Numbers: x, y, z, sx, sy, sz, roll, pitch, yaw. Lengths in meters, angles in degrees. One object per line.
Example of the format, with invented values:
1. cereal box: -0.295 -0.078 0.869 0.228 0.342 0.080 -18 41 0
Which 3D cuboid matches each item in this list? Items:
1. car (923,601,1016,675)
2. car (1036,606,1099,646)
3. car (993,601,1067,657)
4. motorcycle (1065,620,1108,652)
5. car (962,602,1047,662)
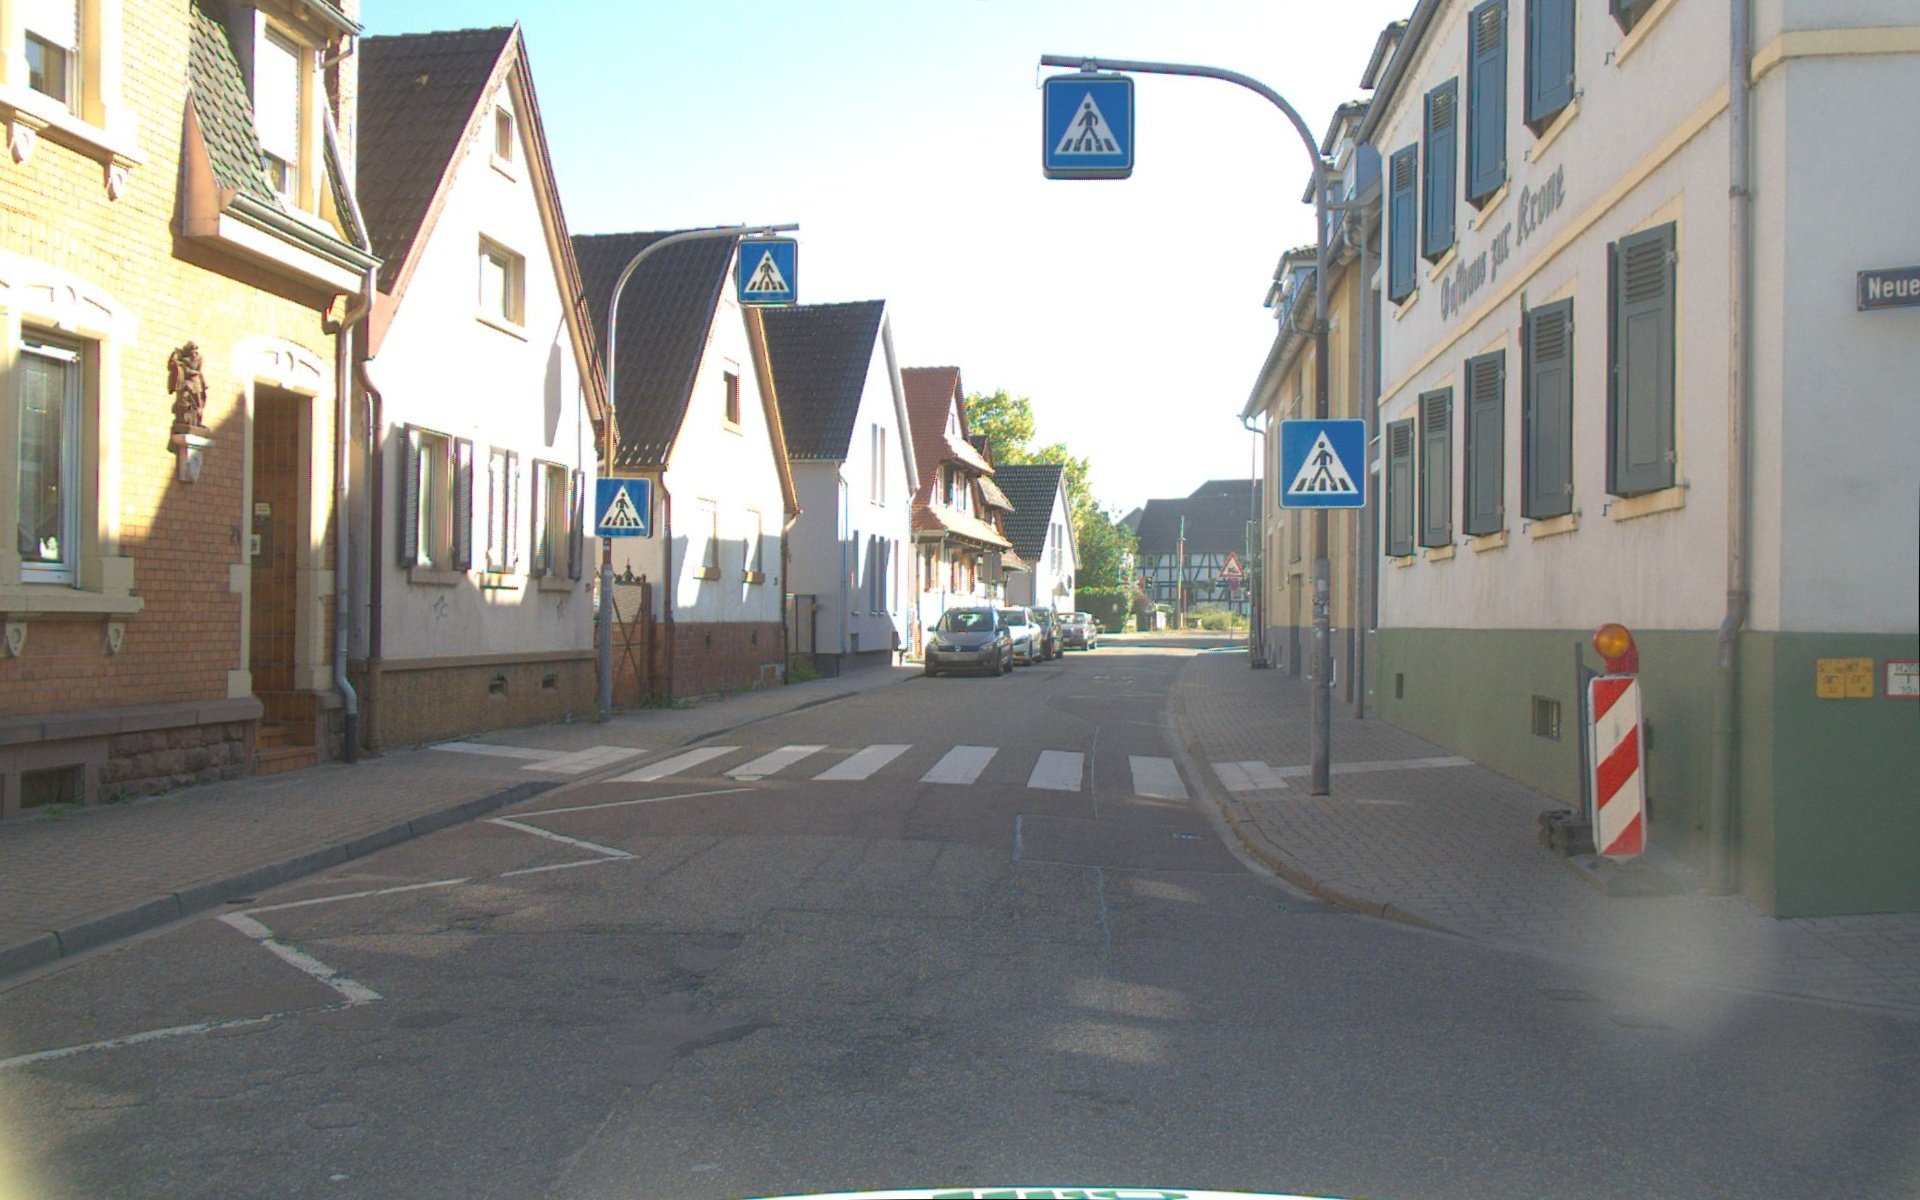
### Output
1. car: 0.283 0.884 39.183 1.705 1.642 4.003 0 -1 7
2. car: 4.113 0.989 62.511 1.805 1.431 5.040 -1 -1 10
3. car: 2.217 0.890 51.357 1.745 1.633 4.364 0 -1 10
4. motorcycle: 5.066 1.418 66.298 0.619 1.253 1.970 0 0 -35
5. car: 1.287 0.892 46.125 1.777 1.594 4.171 0 -1 10
